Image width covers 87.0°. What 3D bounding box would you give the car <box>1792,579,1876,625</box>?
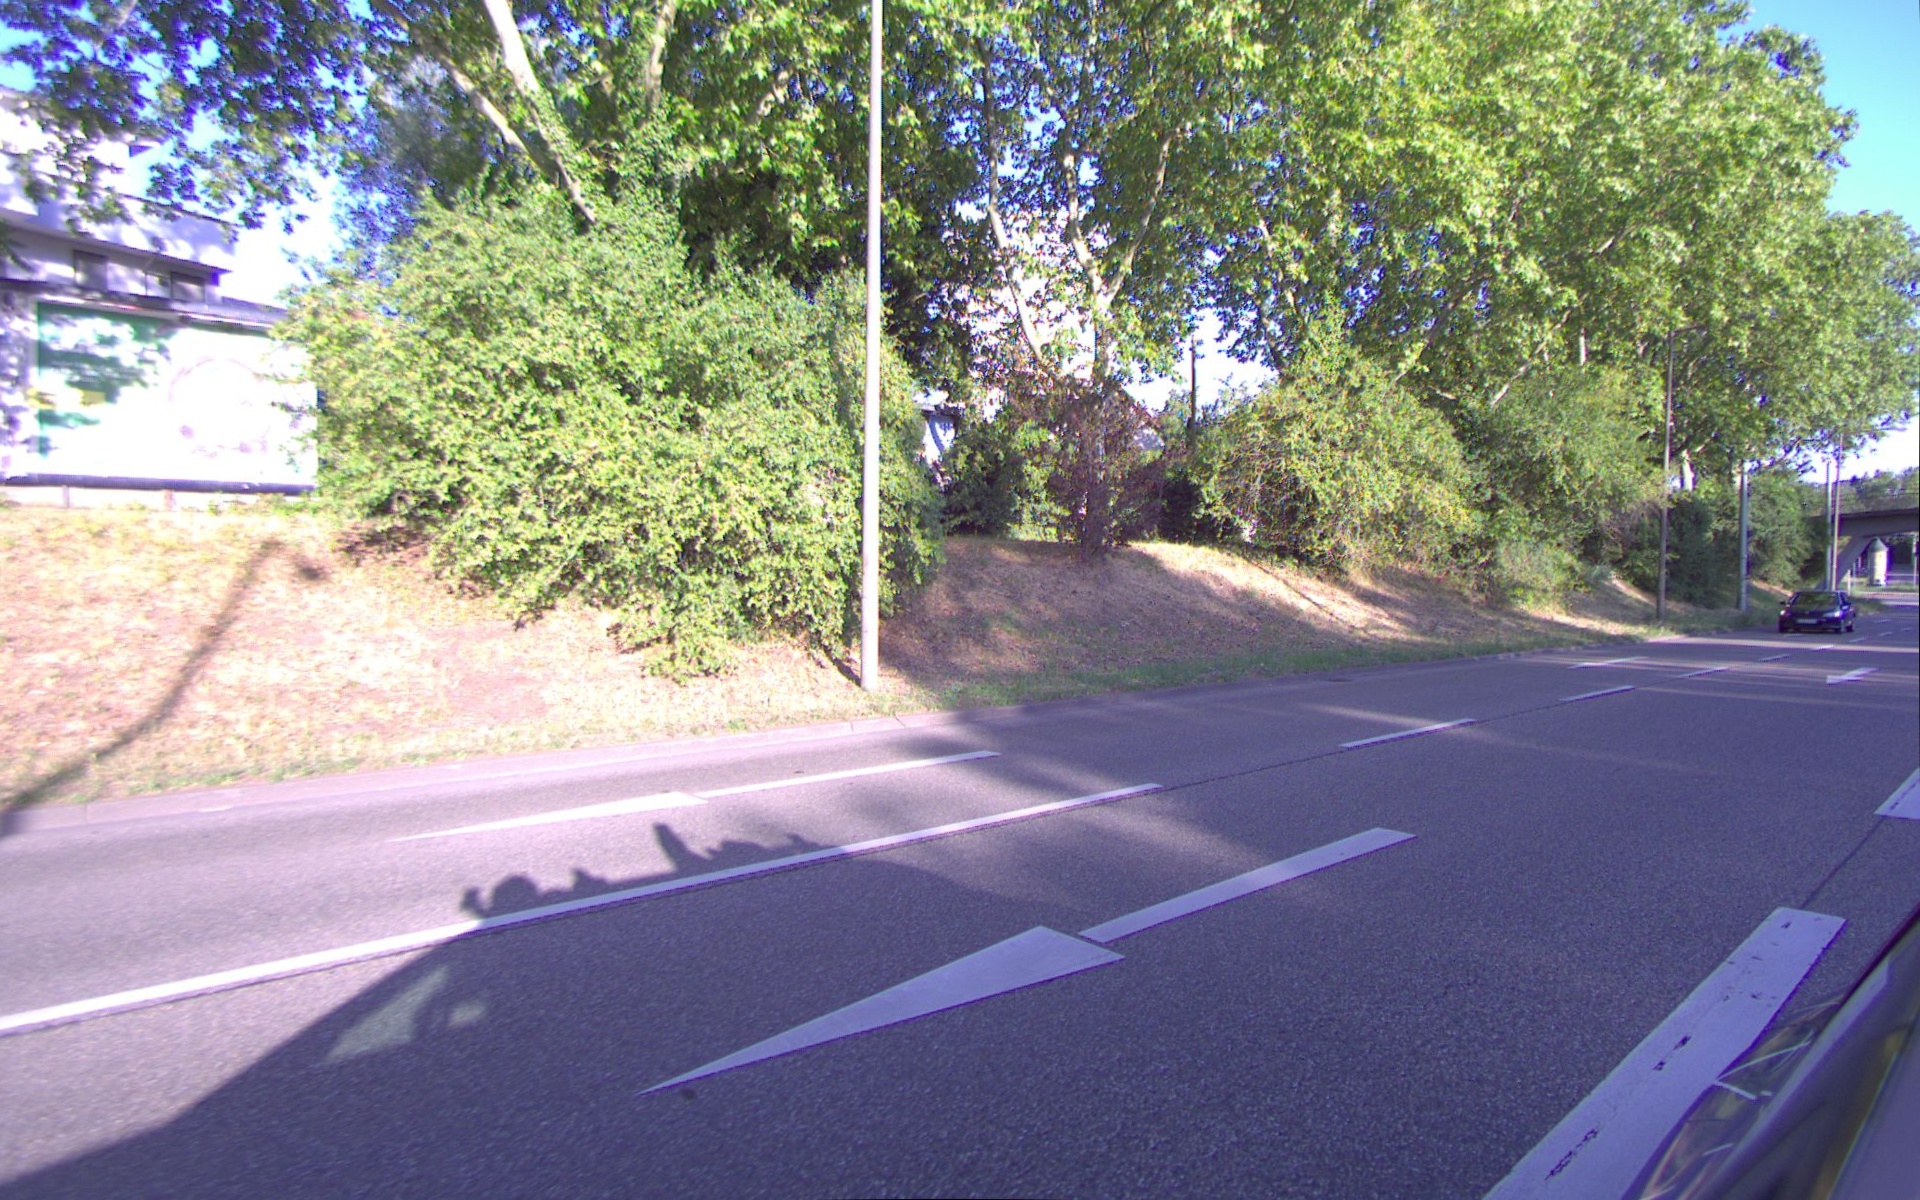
[{"bbox_3d":[29.789,0.035,34.472,3.916,1.460,1.627,-1,1,-41],"label":"car"}]
